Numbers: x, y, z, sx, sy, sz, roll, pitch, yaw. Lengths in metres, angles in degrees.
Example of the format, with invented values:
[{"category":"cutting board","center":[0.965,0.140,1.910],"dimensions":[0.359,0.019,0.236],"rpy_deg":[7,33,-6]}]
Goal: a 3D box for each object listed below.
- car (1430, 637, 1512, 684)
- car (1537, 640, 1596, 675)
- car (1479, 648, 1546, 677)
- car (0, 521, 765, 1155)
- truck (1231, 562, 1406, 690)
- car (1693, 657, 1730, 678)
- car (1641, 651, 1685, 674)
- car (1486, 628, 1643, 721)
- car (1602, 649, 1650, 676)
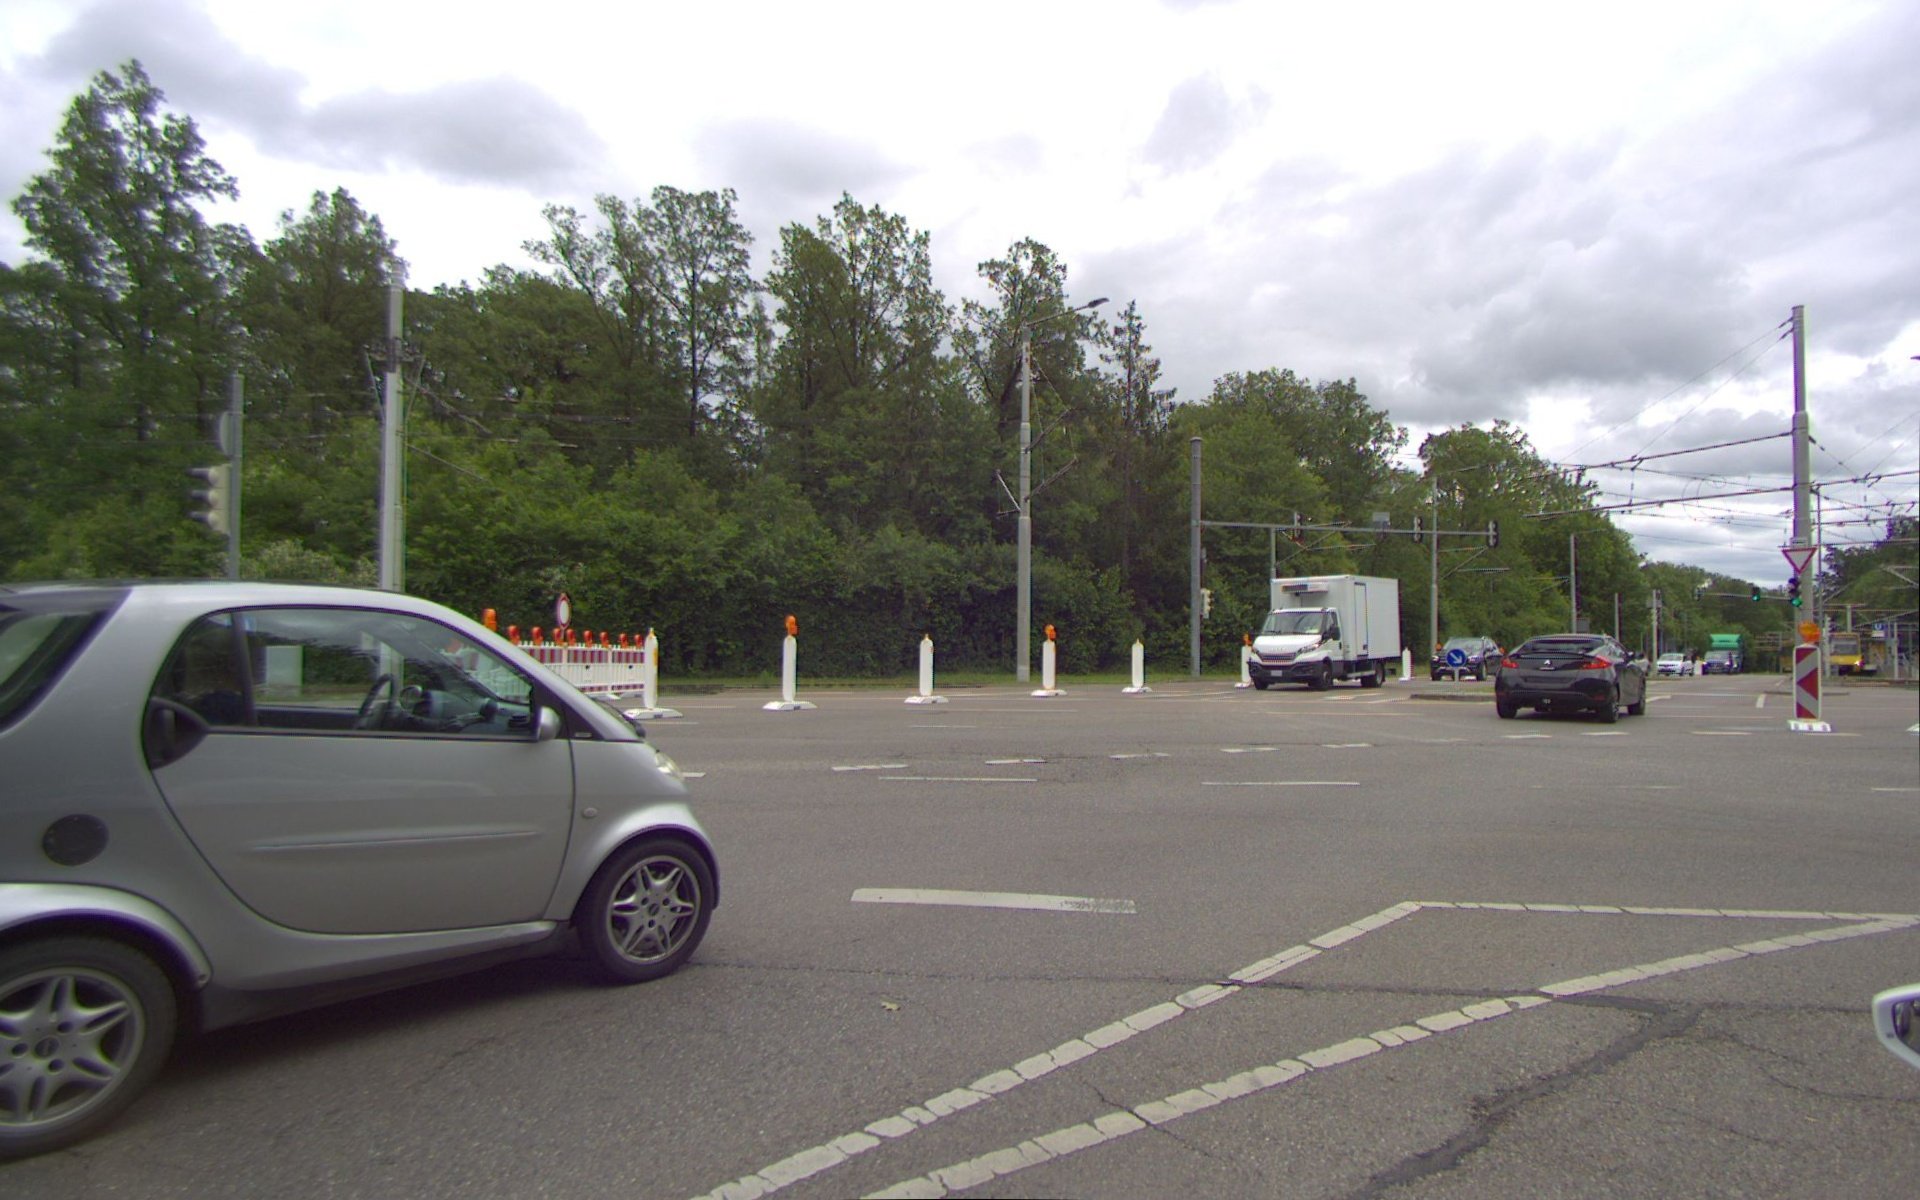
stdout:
[{"category":"car","center":[20.984,2.461,41.157],"dimensions":[1.939,1.773,4.824],"rpy_deg":[-1,-3,40]},{"category":"car","center":[34.215,3.238,56.652],"dimensions":[1.941,1.869,4.663],"rpy_deg":[-2,-4,43]},{"category":"car","center":[27.993,3.136,50.833],"dimensions":[1.941,1.379,4.663],"rpy_deg":[-2,-4,43]},{"category":"car","center":[-2.285,0.676,3.794],"dimensions":[1.442,1.607,2.712],"rpy_deg":[-3,-4,43]},{"category":"truck","center":[10.591,0.888,29.231],"dimensions":[2.420,3.266,7.122],"rpy_deg":[-2,-4,40]},{"category":"car","center":[60.944,5.451,81.402],"dimensions":[1.941,1.560,4.286],"rpy_deg":[-2,-4,43]},{"category":"car","center":[49.025,4.352,70.020],"dimensions":[1.941,1.561,4.371],"rpy_deg":[-2,-4,43]},{"category":"car","center":[10.123,1.216,16.726],"dimensions":[1.753,1.379,3.461],"rpy_deg":[-2,-4,39]},{"category":"car","center":[43.150,4.036,65.070],"dimensions":[1.941,1.628,4.286],"rpy_deg":[-2,-4,43]}]
